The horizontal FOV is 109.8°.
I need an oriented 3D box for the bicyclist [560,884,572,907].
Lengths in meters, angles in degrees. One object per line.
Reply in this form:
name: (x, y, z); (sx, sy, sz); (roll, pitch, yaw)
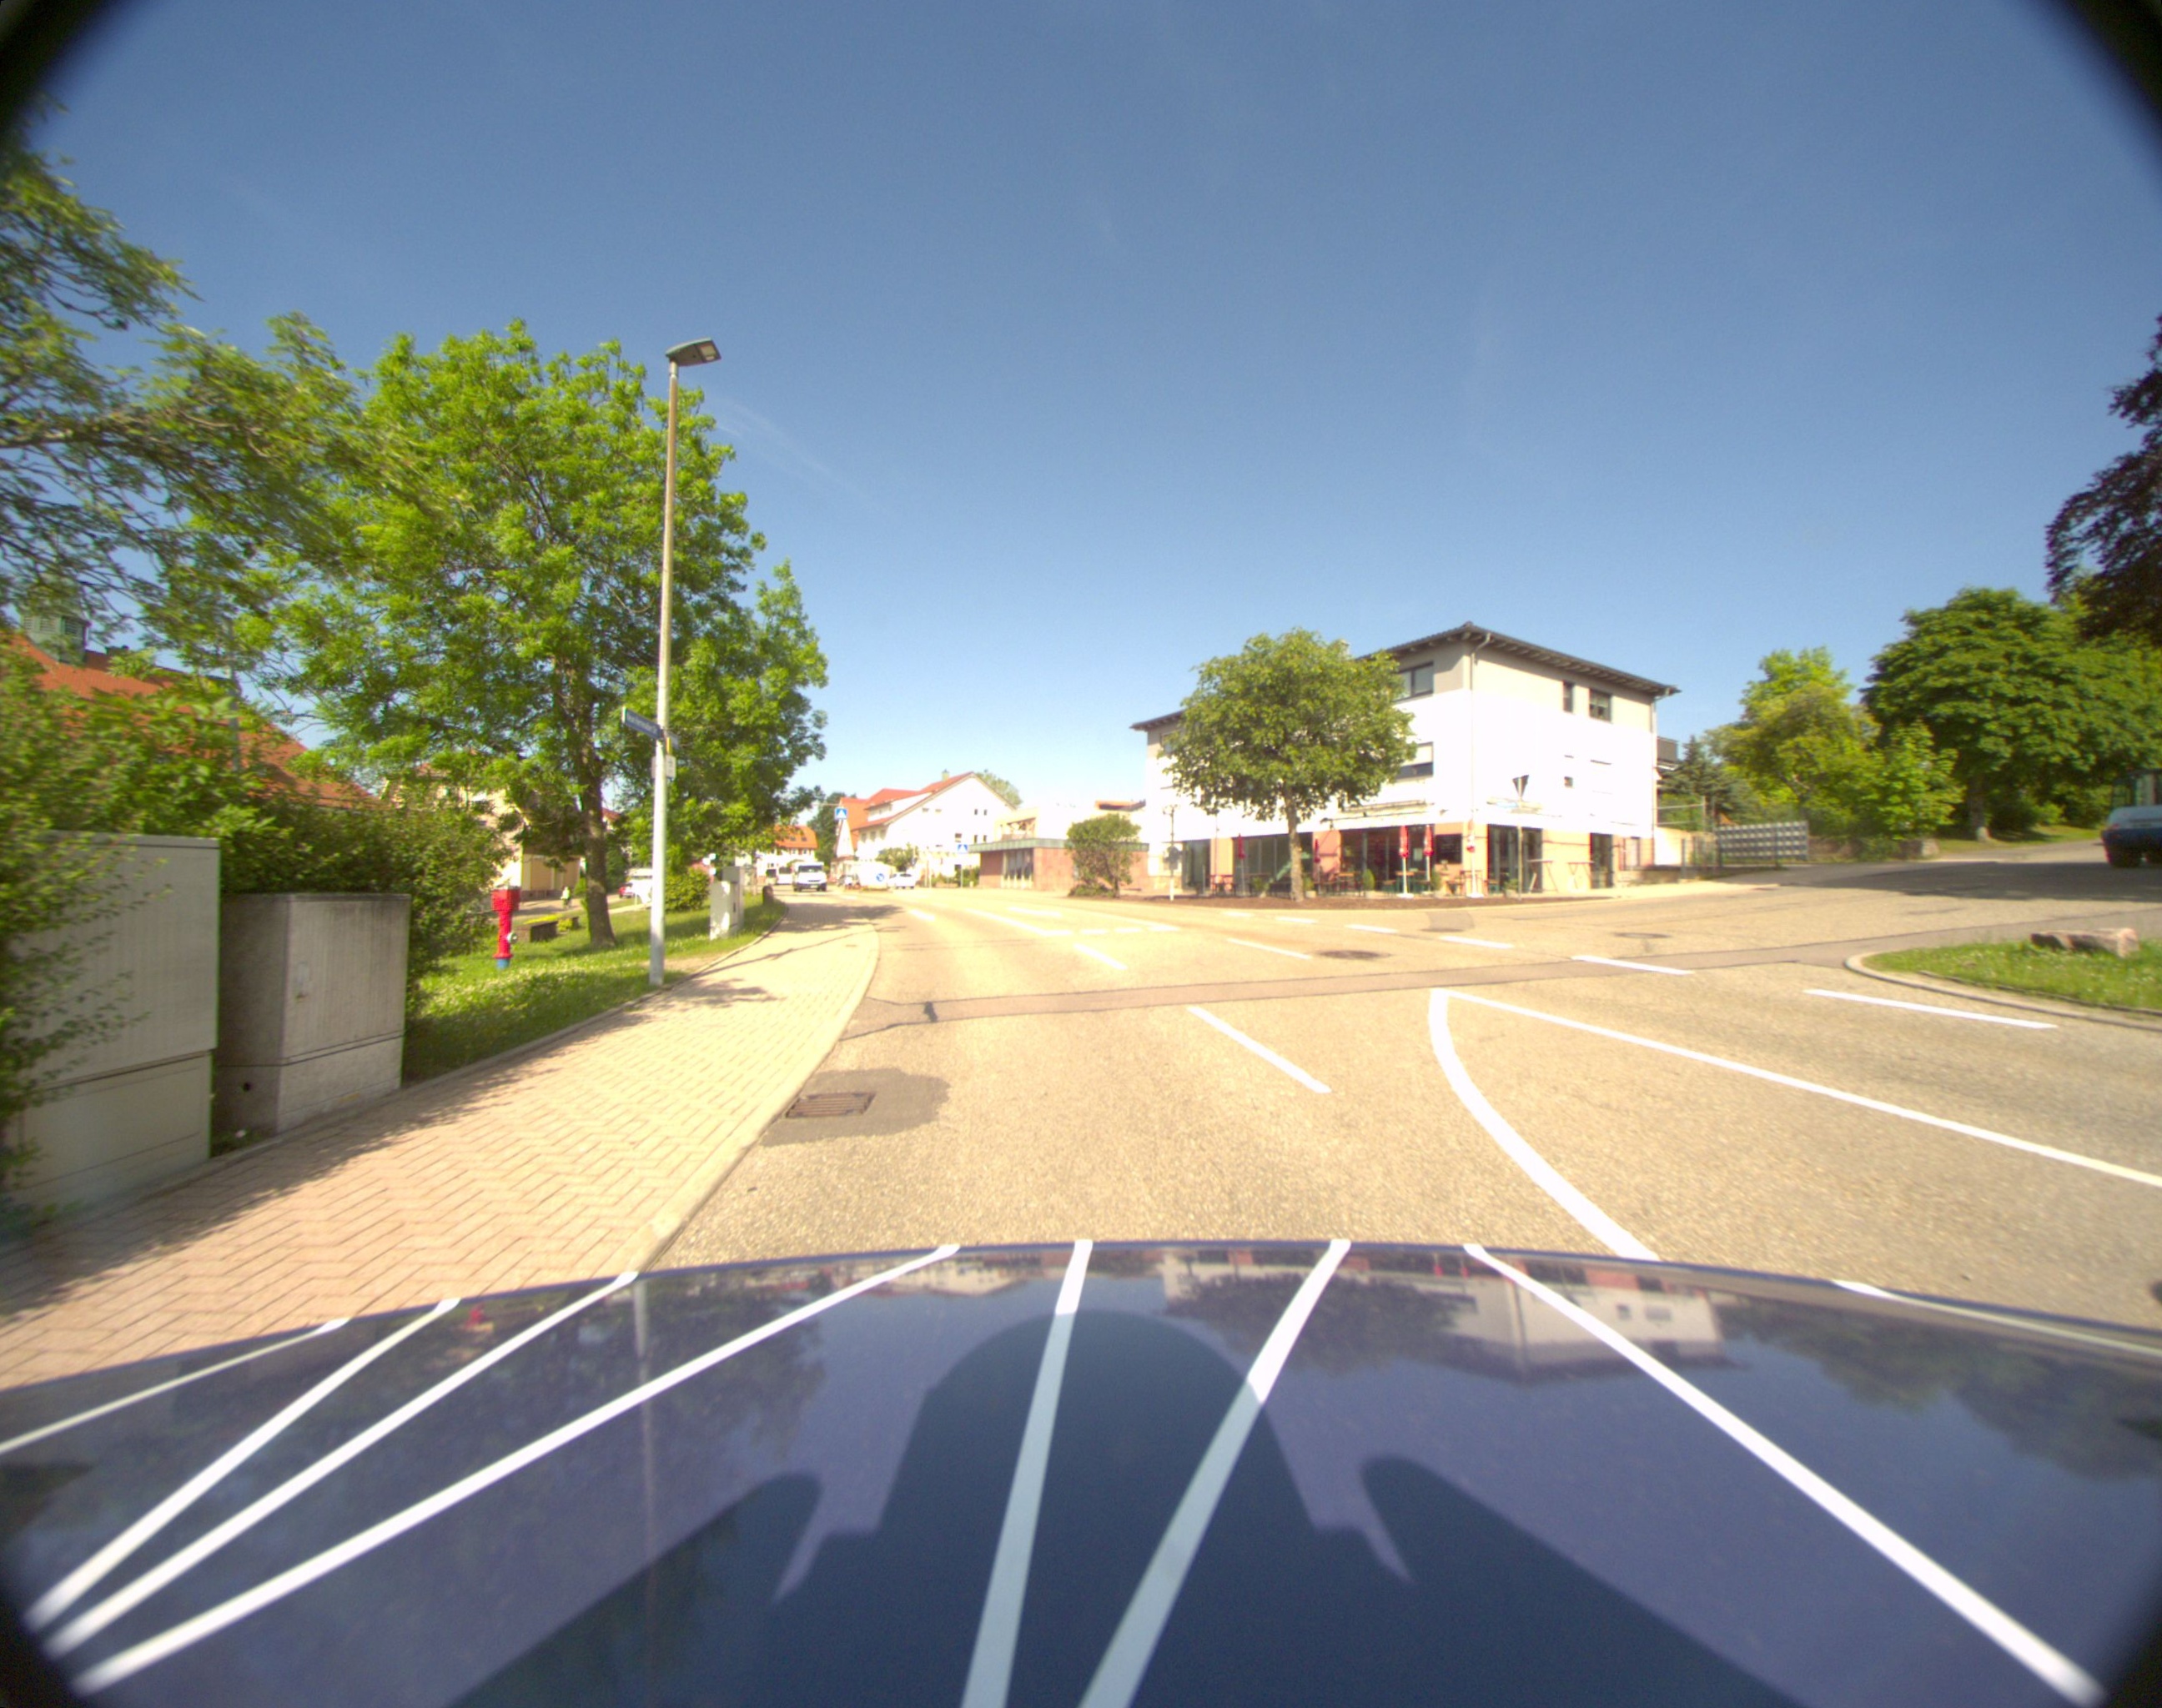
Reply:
bicyclist: (-44.033, 3.518, 64.925); (0.583, 1.914, 0.996); (-3, 1, -25)

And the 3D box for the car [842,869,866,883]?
car: (-24.861, 2.429, 83.007); (1.778, 1.425, 3.706); (-4, 0, -28)

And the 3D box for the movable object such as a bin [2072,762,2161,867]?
movable object such as a bin: (30.647, -1.108, 21.145); (5.108, 2.753, 1.997); (-2, 0, -17)

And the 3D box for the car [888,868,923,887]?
car: (-15.518, 2.089, 67.106); (1.779, 1.459, 3.705); (-4, 0, -33)

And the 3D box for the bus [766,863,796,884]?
bus: (-51.214, 3.405, 129.380); (2.721, 2.995, 15.193); (-1, -2, -29)

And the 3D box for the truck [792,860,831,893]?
truck: (-20.900, 1.706, 58.647); (2.003, 2.328, 6.481); (-1, 0, -27)
